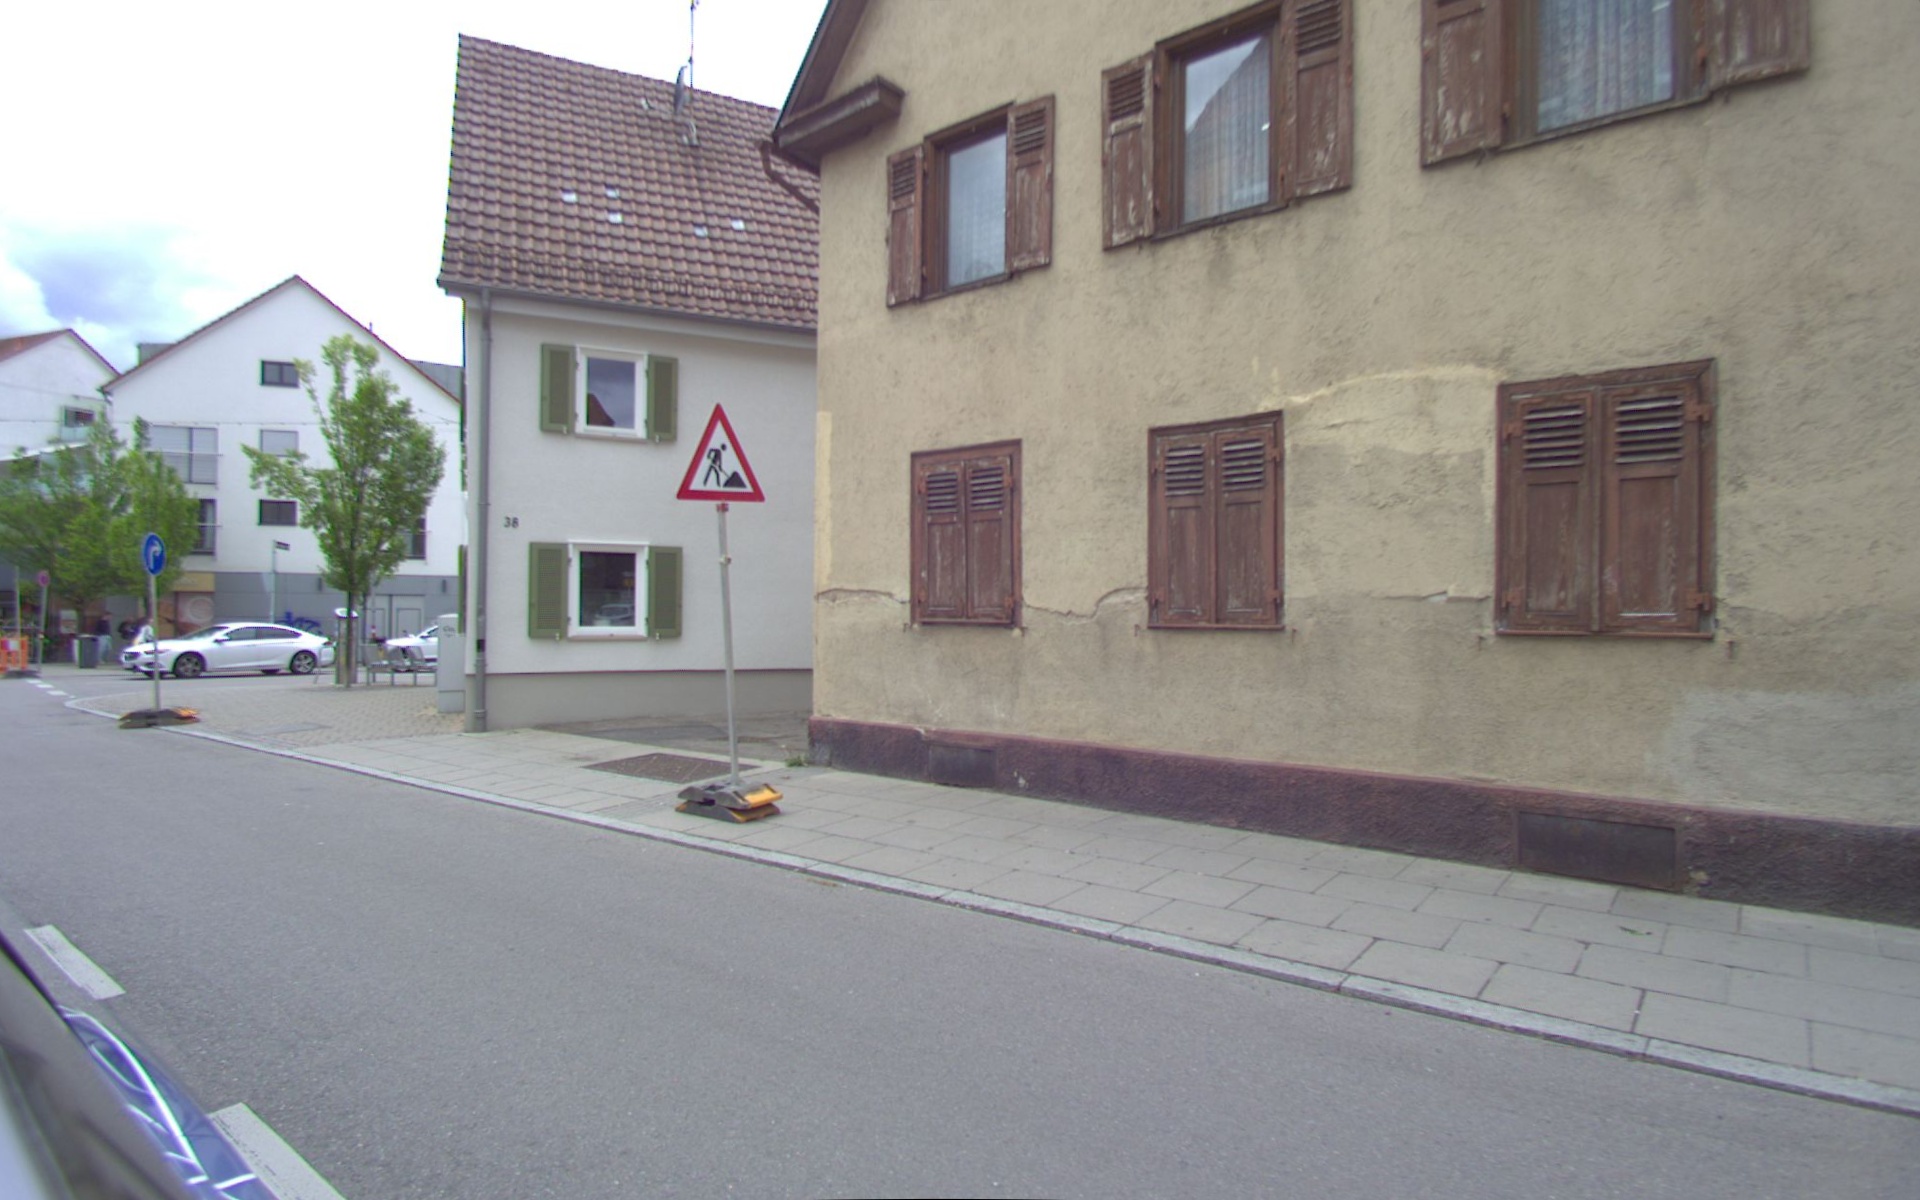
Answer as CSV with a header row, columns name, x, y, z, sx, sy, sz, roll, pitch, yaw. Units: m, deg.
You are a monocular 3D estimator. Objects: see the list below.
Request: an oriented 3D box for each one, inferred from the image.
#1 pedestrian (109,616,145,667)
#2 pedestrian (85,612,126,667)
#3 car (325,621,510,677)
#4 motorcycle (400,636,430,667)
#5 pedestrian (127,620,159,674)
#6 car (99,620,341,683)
name,x,y,z,sx,sy,sz,roll,pitch,yaw
pedestrian,-30.289,1.502,36.807,0.708,1.804,0.694,0,-2,-3
pedestrian,-30.426,1.408,36.040,0.774,1.940,0.817,0,-2,0
car,-16.687,1.465,31.430,4.833,1.569,2.028,-1,-1,-21
motorcycle,-21.659,2.030,40.248,0.563,1.157,1.791,-3,0,-14
pedestrian,-24.676,1.408,30.554,0.672,1.604,0.880,2,-3,-42
car,-19.942,1.319,27.537,2.238,1.488,4.874,-1,-1,27
